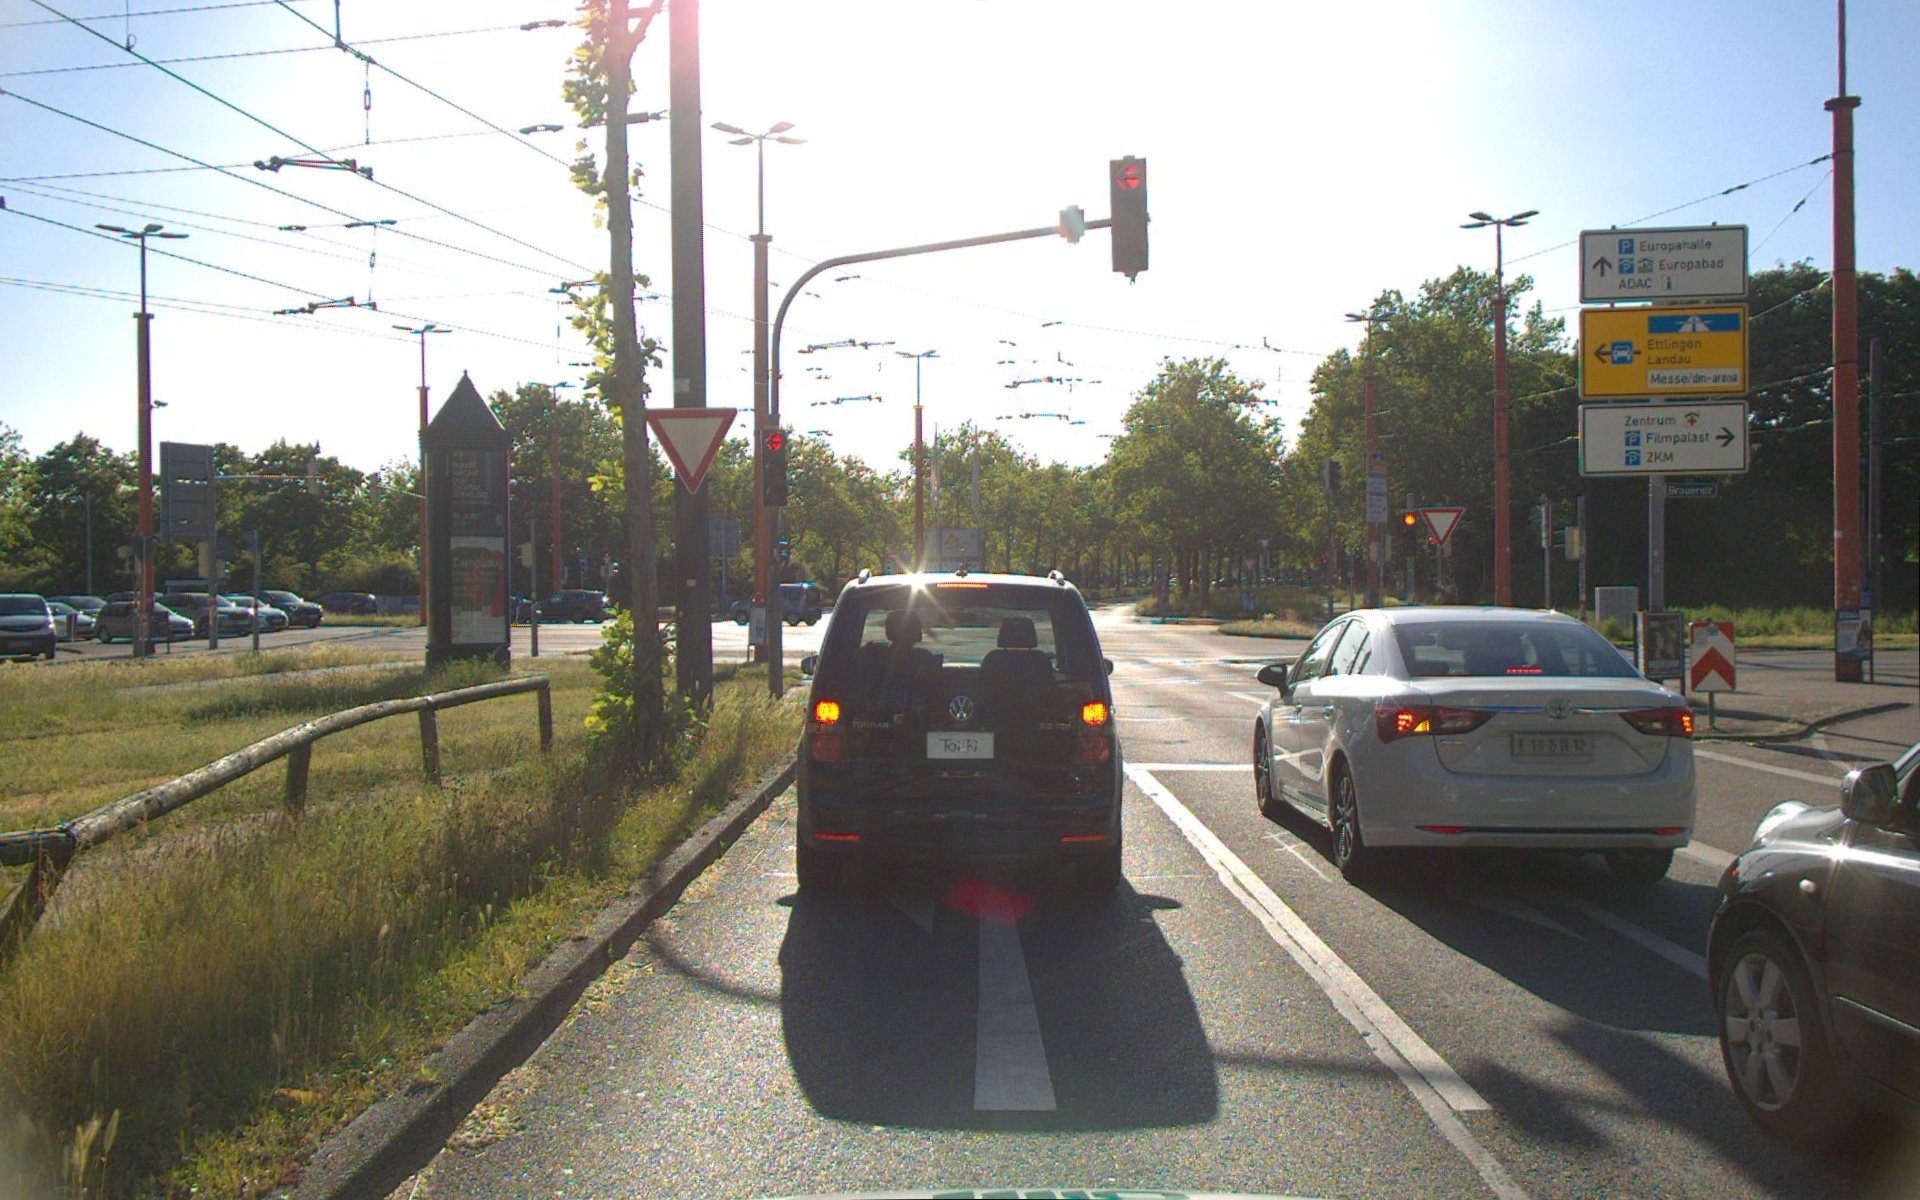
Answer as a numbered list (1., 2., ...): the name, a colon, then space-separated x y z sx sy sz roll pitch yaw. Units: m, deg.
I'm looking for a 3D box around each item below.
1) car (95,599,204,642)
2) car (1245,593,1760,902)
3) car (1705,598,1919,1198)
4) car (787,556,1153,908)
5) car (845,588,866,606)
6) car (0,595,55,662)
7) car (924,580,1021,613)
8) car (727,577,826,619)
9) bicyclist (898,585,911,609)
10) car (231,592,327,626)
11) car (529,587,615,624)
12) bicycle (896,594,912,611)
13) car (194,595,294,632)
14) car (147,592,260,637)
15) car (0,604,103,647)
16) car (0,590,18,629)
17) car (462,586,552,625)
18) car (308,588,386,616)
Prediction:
1. car: -29.550 0.726 60.307 3.755 1.466 1.655 0 0 27
2. car: 3.008 0.725 10.191 1.762 1.465 4.326 1 0 0
3. car: 3.130 0.739 3.495 1.544 1.465 3.441 1 0 0
4. car: 0.061 0.632 9.970 1.703 1.630 4.326 1 0 0
5. car: -8.238 -0.243 130.316 1.618 1.427 4.130 0 0 -3
6. car: -28.046 0.807 48.662 1.814 1.853 4.837 0 0 -37
7. car: 0.564 -0.165 74.123 4.036 1.427 1.656 0 0 25
8. car: -8.172 -0.107 73.757 4.036 1.822 1.798 0 0 24
9. bicyclist: -4.675 -0.252 138.603 0.955 1.937 1.051 0 0 7
10. car: -29.474 0.368 71.556 4.060 1.440 1.542 0 0 26
11. car: -19.677 0.250 83.849 4.037 1.822 1.797 0 0 25
12. bicycle: -4.682 0.207 138.562 0.955 1.413 2.982 0 0 7
13. car: -29.411 0.527 67.934 4.060 1.440 1.542 0 0 26
14. car: -29.324 0.536 64.099 4.541 1.676 1.654 0 0 30
15. car: -34.944 0.965 63.261 4.536 1.546 1.654 0 0 30
16. car: -42.991 0.378 71.642 4.541 1.676 1.753 0 0 30
17. car: -22.117 0.245 80.759 4.036 1.822 1.798 0 0 24
18. car: -33.522 0.091 90.378 4.037 1.497 1.655 0 0 25
